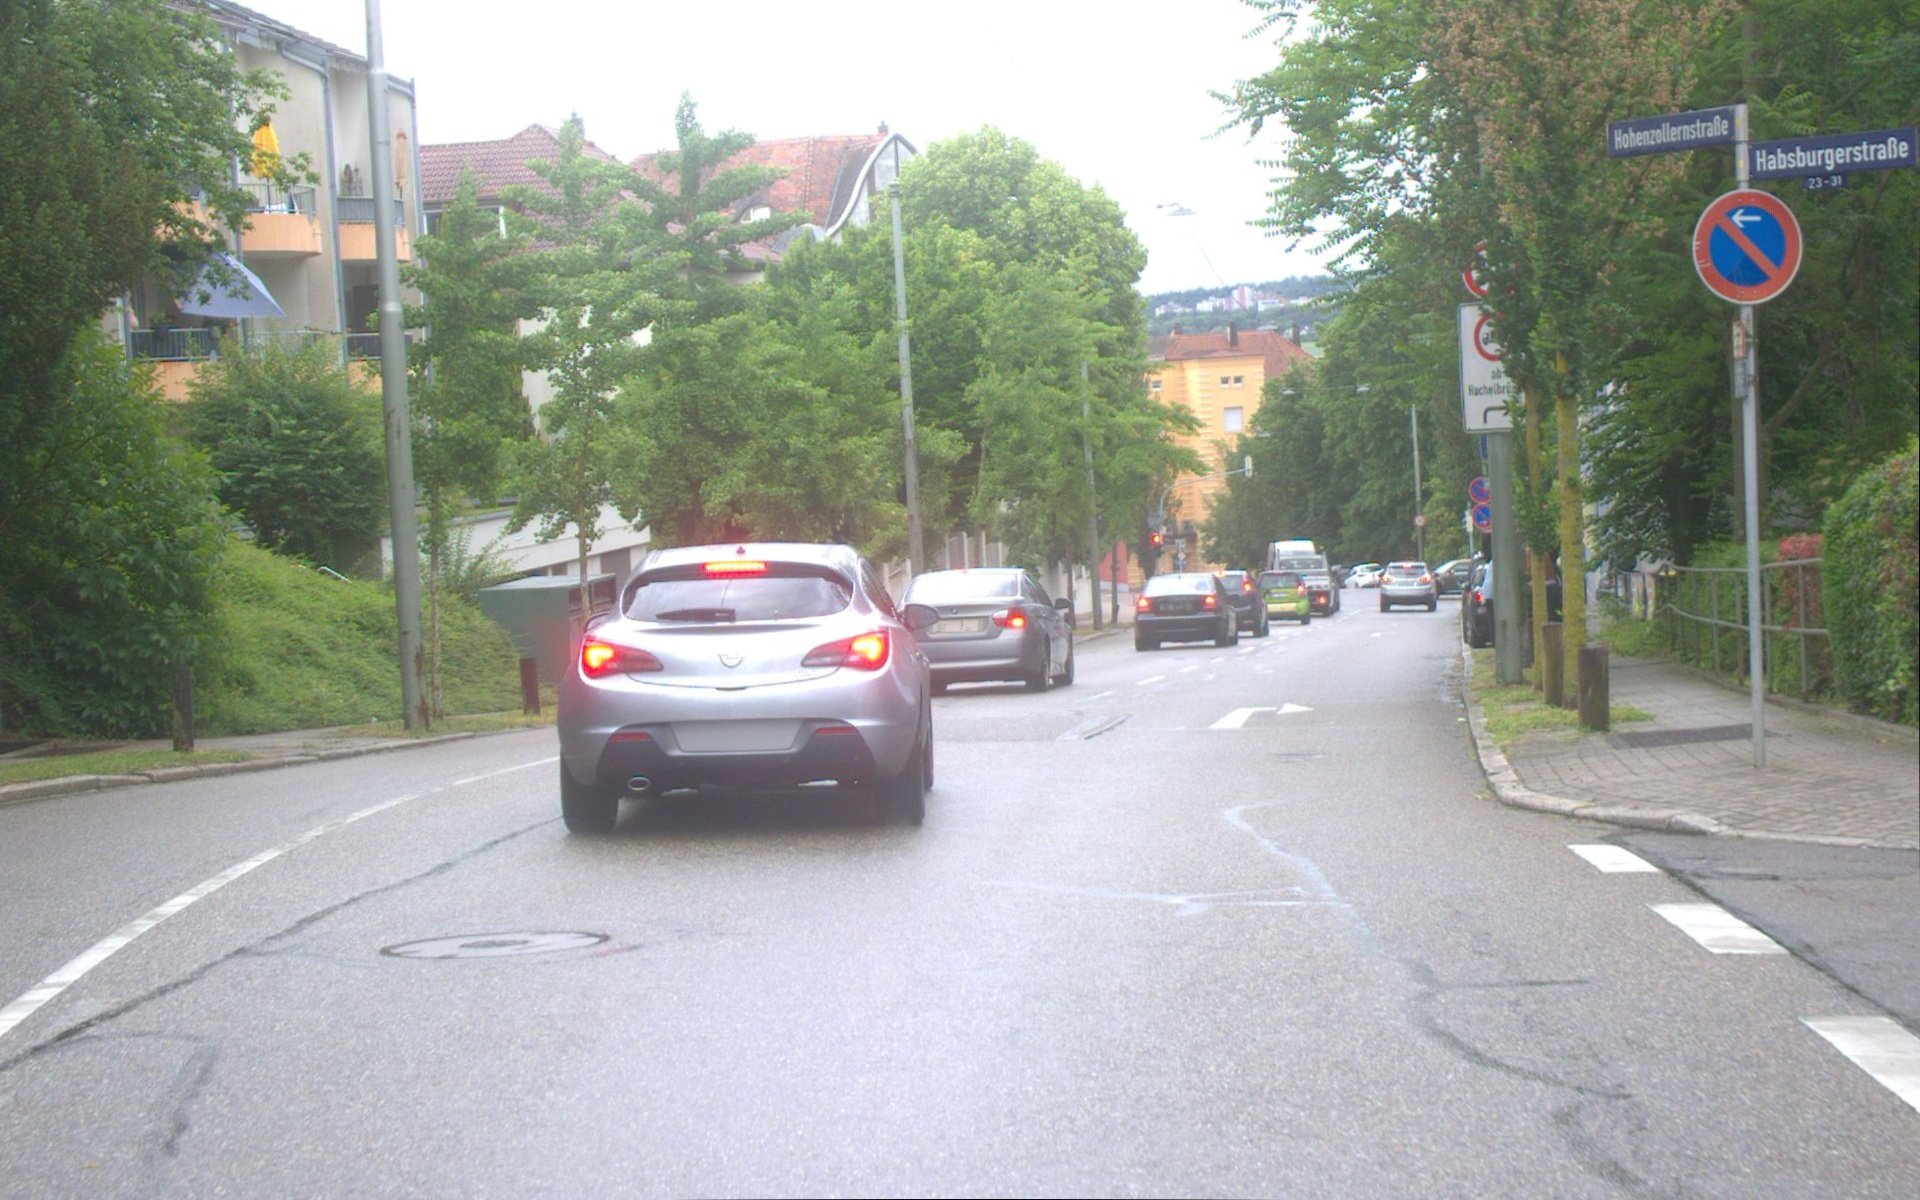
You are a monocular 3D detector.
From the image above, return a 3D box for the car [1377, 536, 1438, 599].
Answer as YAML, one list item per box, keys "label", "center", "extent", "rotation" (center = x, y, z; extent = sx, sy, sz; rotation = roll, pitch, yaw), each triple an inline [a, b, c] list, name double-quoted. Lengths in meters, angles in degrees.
- label: "car"
  center: [15.271, -1.118, 117.180]
  extent: [1.994, 2.029, 4.734]
  rotation: [0, 2, 9]

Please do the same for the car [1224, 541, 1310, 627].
- label: "car"
  center: [6.716, -0.378, 74.973]
  extent: [1.769, 1.775, 3.976]
  rotation: [0, 2, 7]

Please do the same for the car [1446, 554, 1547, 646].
- label: "car"
  center: [9.842, -0.026, 63.003]
  extent: [1.682, 1.459, 3.999]
  rotation: [-4, 1, 9]

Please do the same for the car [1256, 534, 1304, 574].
- label: "car"
  center: [15.117, -2.179, 162.439]
  extent: [1.994, 1.778, 3.999]
  rotation: [0, 2, 9]

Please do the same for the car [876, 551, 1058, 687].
- label: "car"
  center: [0.135, 0.177, 38.532]
  extent: [1.798, 1.318, 4.000]
  rotation: [-2, 2, 3]

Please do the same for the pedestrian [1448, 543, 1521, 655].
- label: "pedestrian"
  center: [8.380, -0.018, 54.941]
  extent: [0.734, 1.718, 0.765]
  rotation: [-6, 1, -17]

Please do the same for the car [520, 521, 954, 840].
- label: "car"
  center: [-1.081, 0.345, 18.561]
  extent: [1.945, 1.427, 3.884]
  rotation: [-3, 2, 1]

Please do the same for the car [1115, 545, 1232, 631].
- label: "car"
  center: [3.985, -0.244, 63.741]
  extent: [1.961, 1.467, 3.950]
  rotation: [0, 2, 7]

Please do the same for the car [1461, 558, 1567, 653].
- label: "car"
  center: [9.181, 0.072, 57.186]
  extent: [1.504, 1.430, 3.999]
  rotation: [-4, 0, 7]

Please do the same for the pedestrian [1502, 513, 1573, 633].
- label: "pedestrian"
  center: [9.213, -0.424, 54.816]
  extent: [0.663, 1.830, 0.688]
  rotation: [-6, 1, -36]

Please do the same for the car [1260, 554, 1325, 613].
- label: "car"
  center: [9.406, -0.487, 97.188]
  extent: [1.754, 1.645, 3.999]
  rotation: [0, 1, 7]

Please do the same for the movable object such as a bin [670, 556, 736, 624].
- label: "movable object such as a bin"
  center: [-5.369, -0.208, 71.942]
  extent: [1.272, 1.382, 0.489]
  rotation: [-2, 2, 7]

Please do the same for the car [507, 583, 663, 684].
- label: "car"
  center: [-6.428, 0.550, 59.256]
  extent: [1.742, 1.451, 3.883]
  rotation: [-6, 0, 6]

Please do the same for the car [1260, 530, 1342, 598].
- label: "car"
  center: [10.823, -1.162, 108.818]
  extent: [2.335, 2.029, 4.733]
  rotation: [0, 2, 9]

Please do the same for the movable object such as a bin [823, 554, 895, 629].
- label: "movable object such as a bin"
  center: [-1.926, -0.165, 65.585]
  extent: [1.272, 1.382, 0.489]
  rotation: [-2, 2, 7]
